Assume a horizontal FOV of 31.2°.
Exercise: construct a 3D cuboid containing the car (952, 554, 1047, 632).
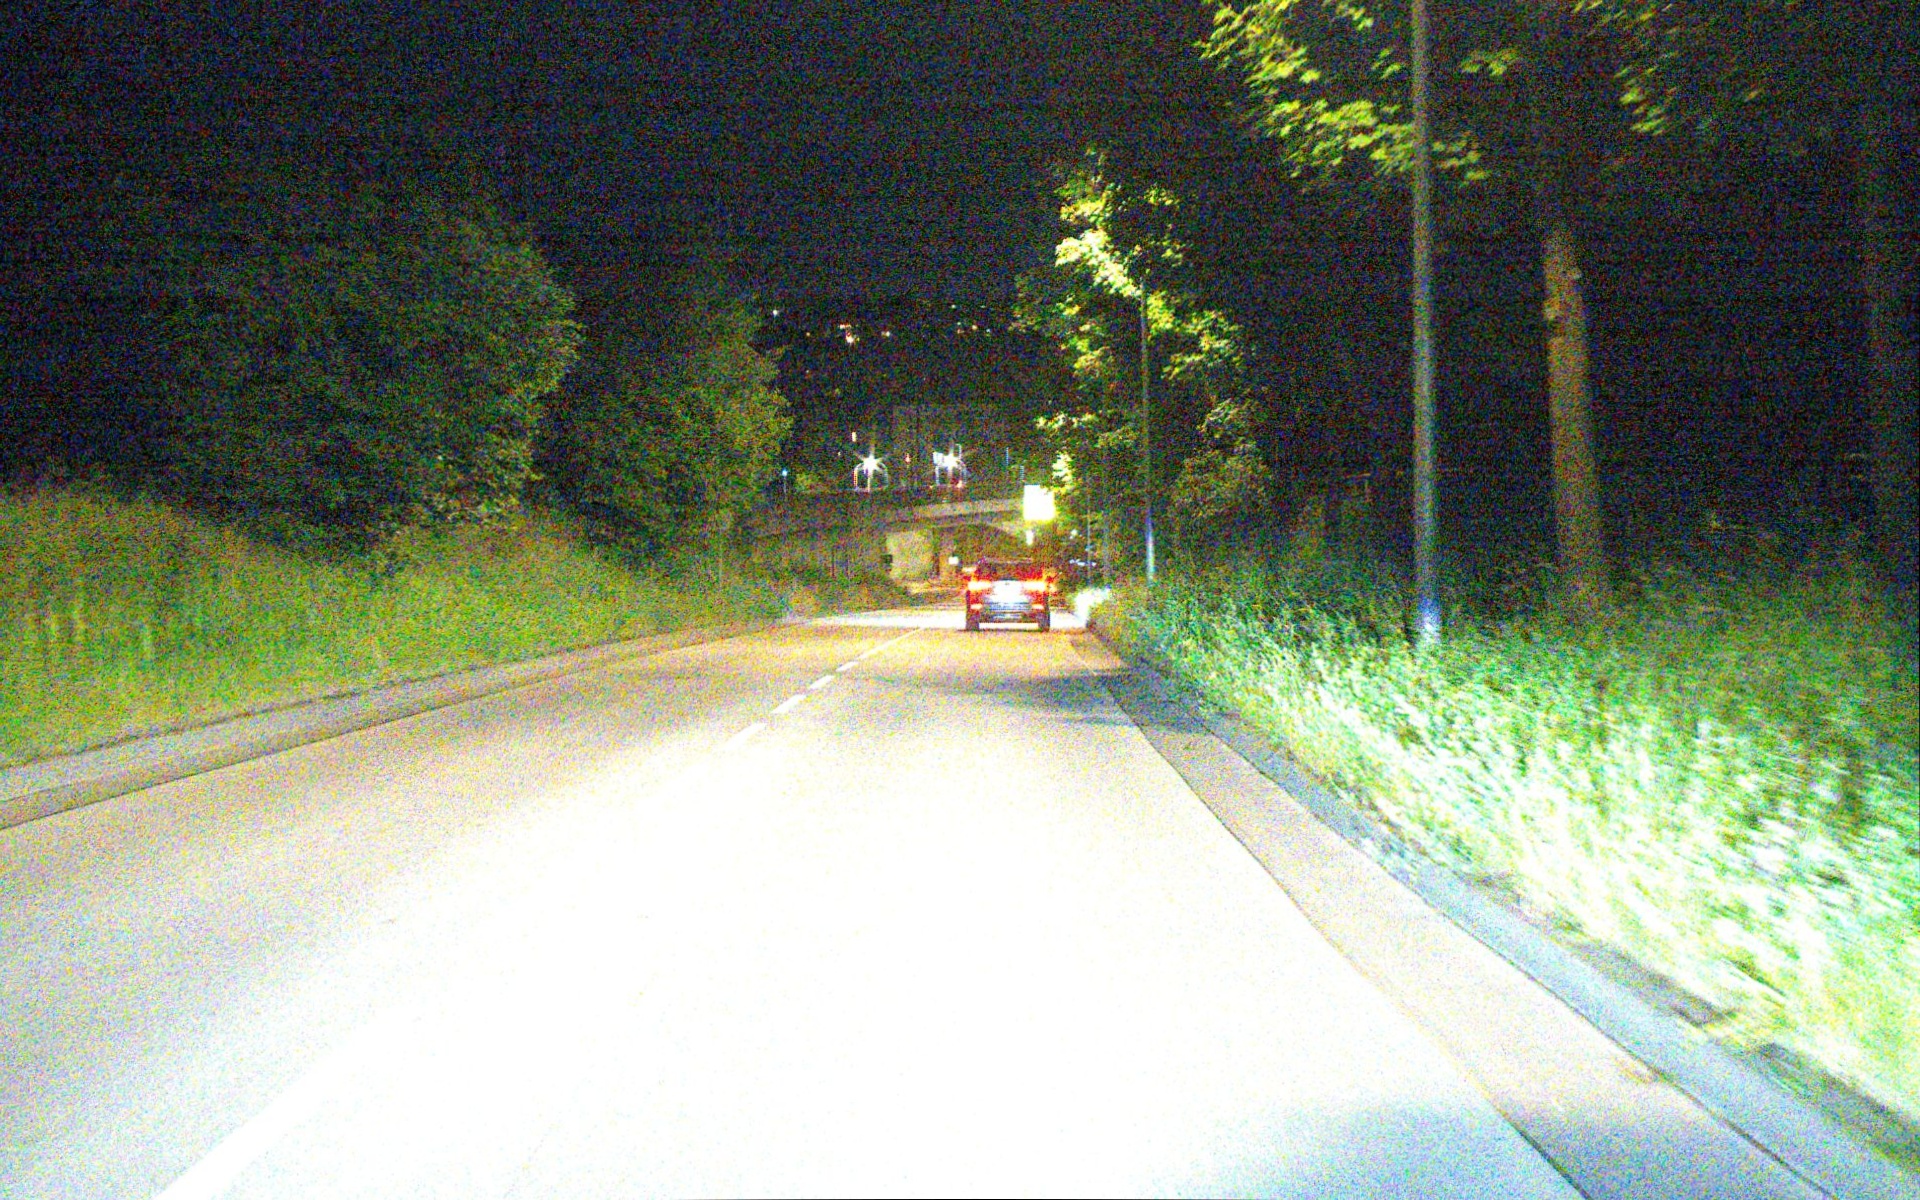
[{"bbox_3d":[0.831,-0.172,74.458,1.763,1.636,3.723,0,1,-4],"label":"car"}]
